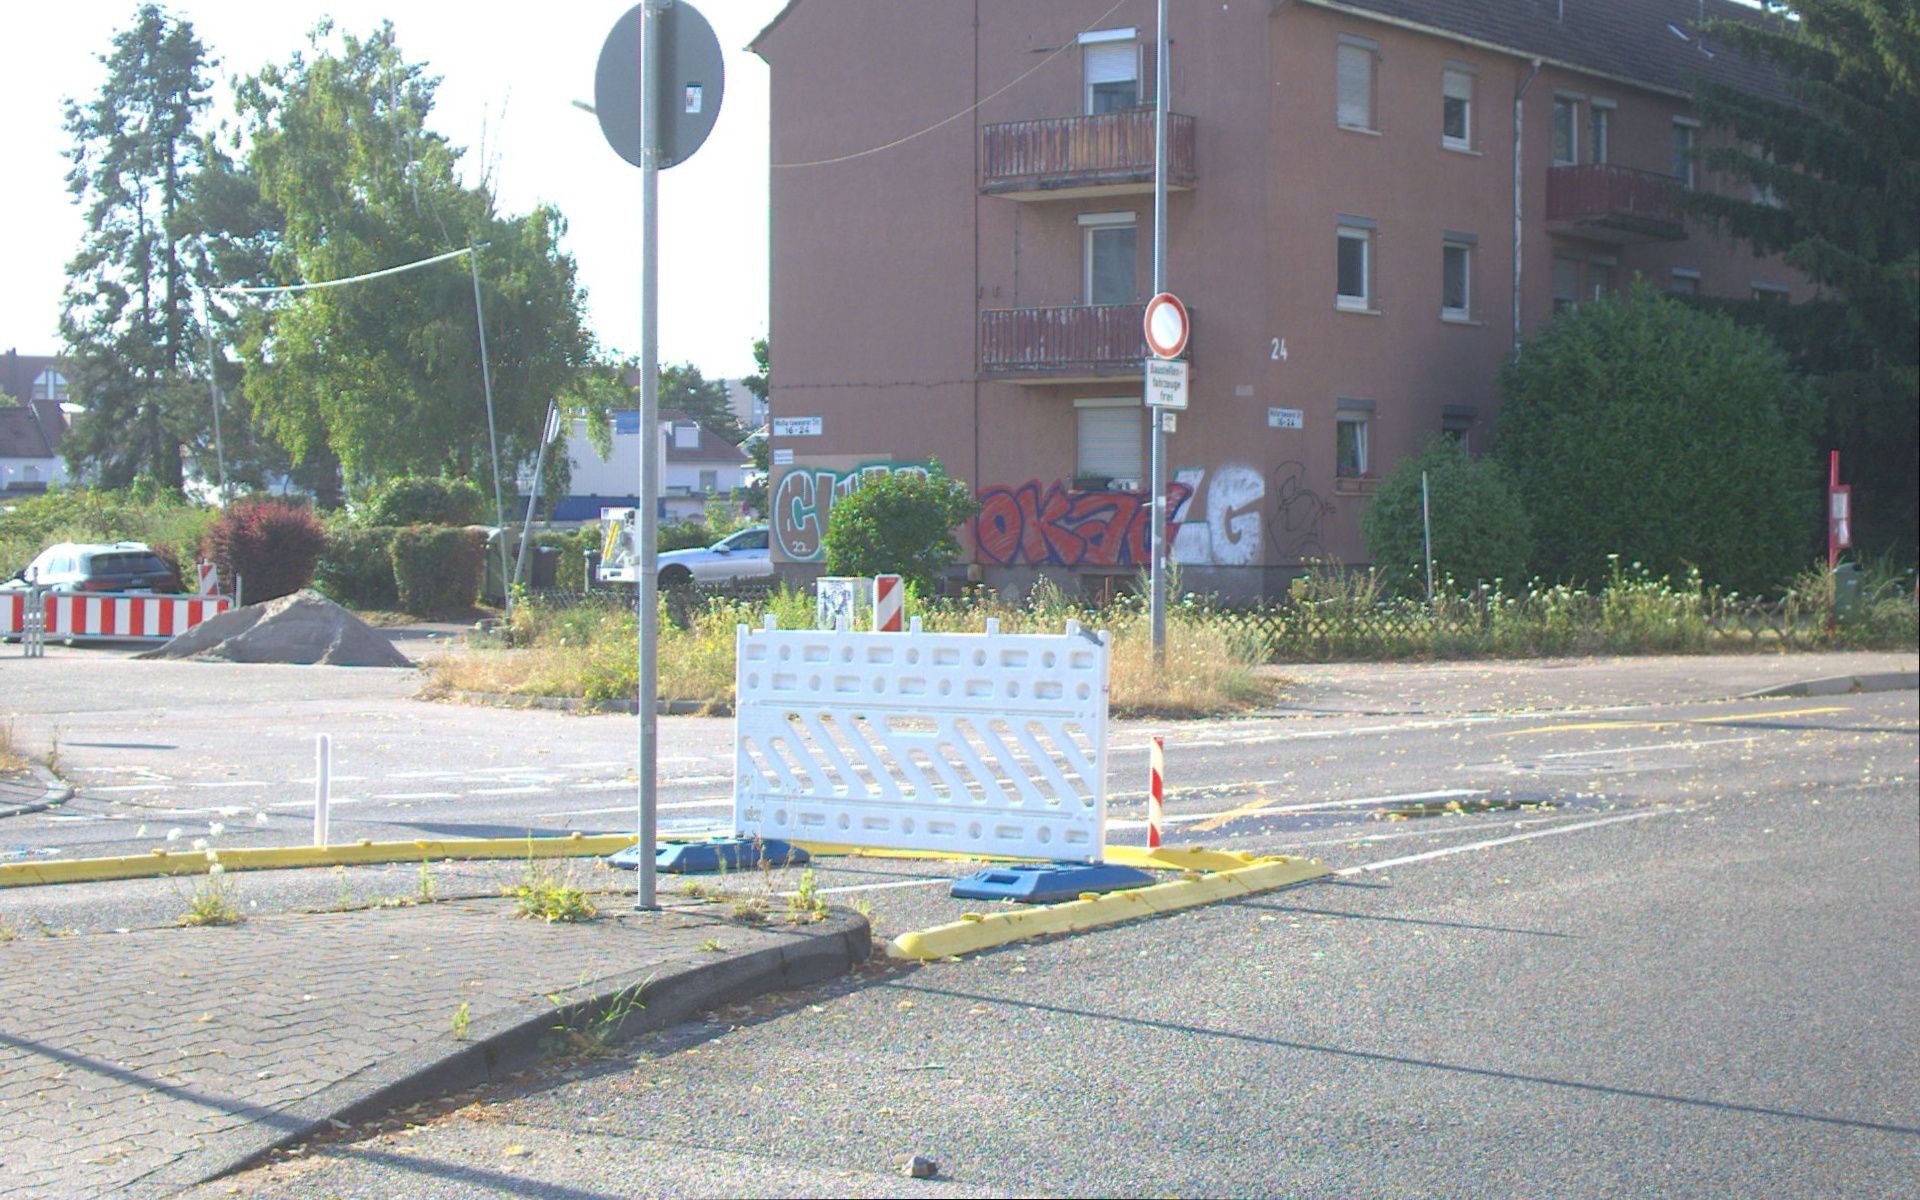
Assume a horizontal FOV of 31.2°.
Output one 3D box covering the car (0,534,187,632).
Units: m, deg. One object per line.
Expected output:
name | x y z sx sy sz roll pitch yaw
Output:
car | -14.618 -0.305 57.406 1.994 1.546 4.000 0 1 -35

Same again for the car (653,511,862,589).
car | -4.060 -1.011 69.375 3.987 1.525 2.000 1 1 4
